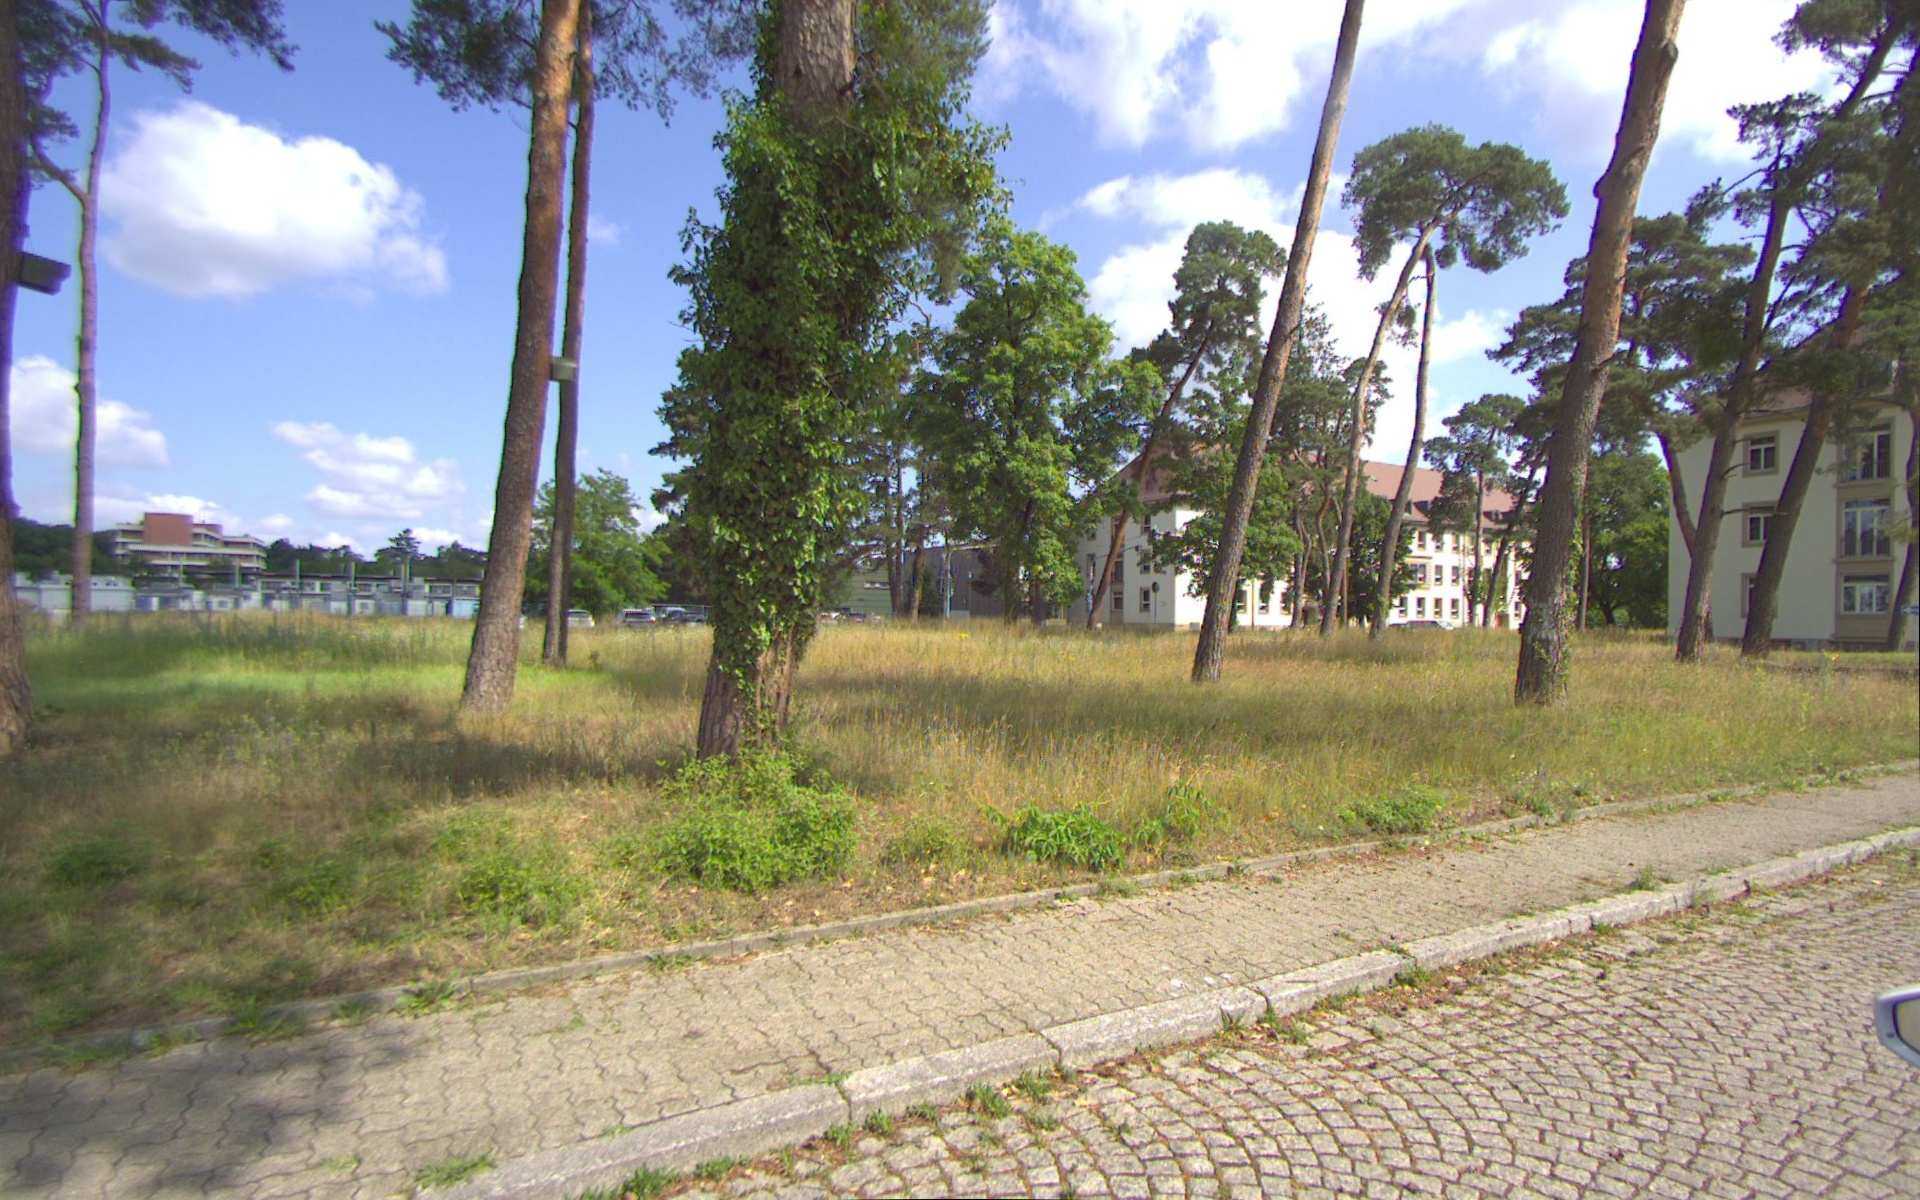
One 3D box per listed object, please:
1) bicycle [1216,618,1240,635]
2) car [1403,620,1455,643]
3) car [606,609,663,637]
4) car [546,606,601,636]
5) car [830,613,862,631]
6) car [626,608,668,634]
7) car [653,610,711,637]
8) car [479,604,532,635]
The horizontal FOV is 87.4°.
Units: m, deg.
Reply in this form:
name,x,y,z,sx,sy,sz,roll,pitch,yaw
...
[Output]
name,x,y,z,sx,sy,sz,roll,pitch,yaw
bicycle,18.114,1.804,67.987,1.561,1.115,0.489,1,-1,-19
car,41.809,2.791,89.578,1.692,2.018,4.042,1,-1,-28
car,-16.300,1.141,50.206,1.879,1.337,4.046,2,-2,-30
car,-19.060,1.033,49.428,1.879,1.356,4.046,2,-2,-30
car,-13.907,2.715,122.697,3.636,2.115,1.722,1,-1,-21
car,-21.614,1.422,69.274,1.879,1.724,4.046,1,-1,-30
car,-14.240,1.204,51.334,1.879,1.326,4.046,2,-2,-30
car,-21.580,0.926,47.607,1.879,1.366,4.038,2,-2,-30
